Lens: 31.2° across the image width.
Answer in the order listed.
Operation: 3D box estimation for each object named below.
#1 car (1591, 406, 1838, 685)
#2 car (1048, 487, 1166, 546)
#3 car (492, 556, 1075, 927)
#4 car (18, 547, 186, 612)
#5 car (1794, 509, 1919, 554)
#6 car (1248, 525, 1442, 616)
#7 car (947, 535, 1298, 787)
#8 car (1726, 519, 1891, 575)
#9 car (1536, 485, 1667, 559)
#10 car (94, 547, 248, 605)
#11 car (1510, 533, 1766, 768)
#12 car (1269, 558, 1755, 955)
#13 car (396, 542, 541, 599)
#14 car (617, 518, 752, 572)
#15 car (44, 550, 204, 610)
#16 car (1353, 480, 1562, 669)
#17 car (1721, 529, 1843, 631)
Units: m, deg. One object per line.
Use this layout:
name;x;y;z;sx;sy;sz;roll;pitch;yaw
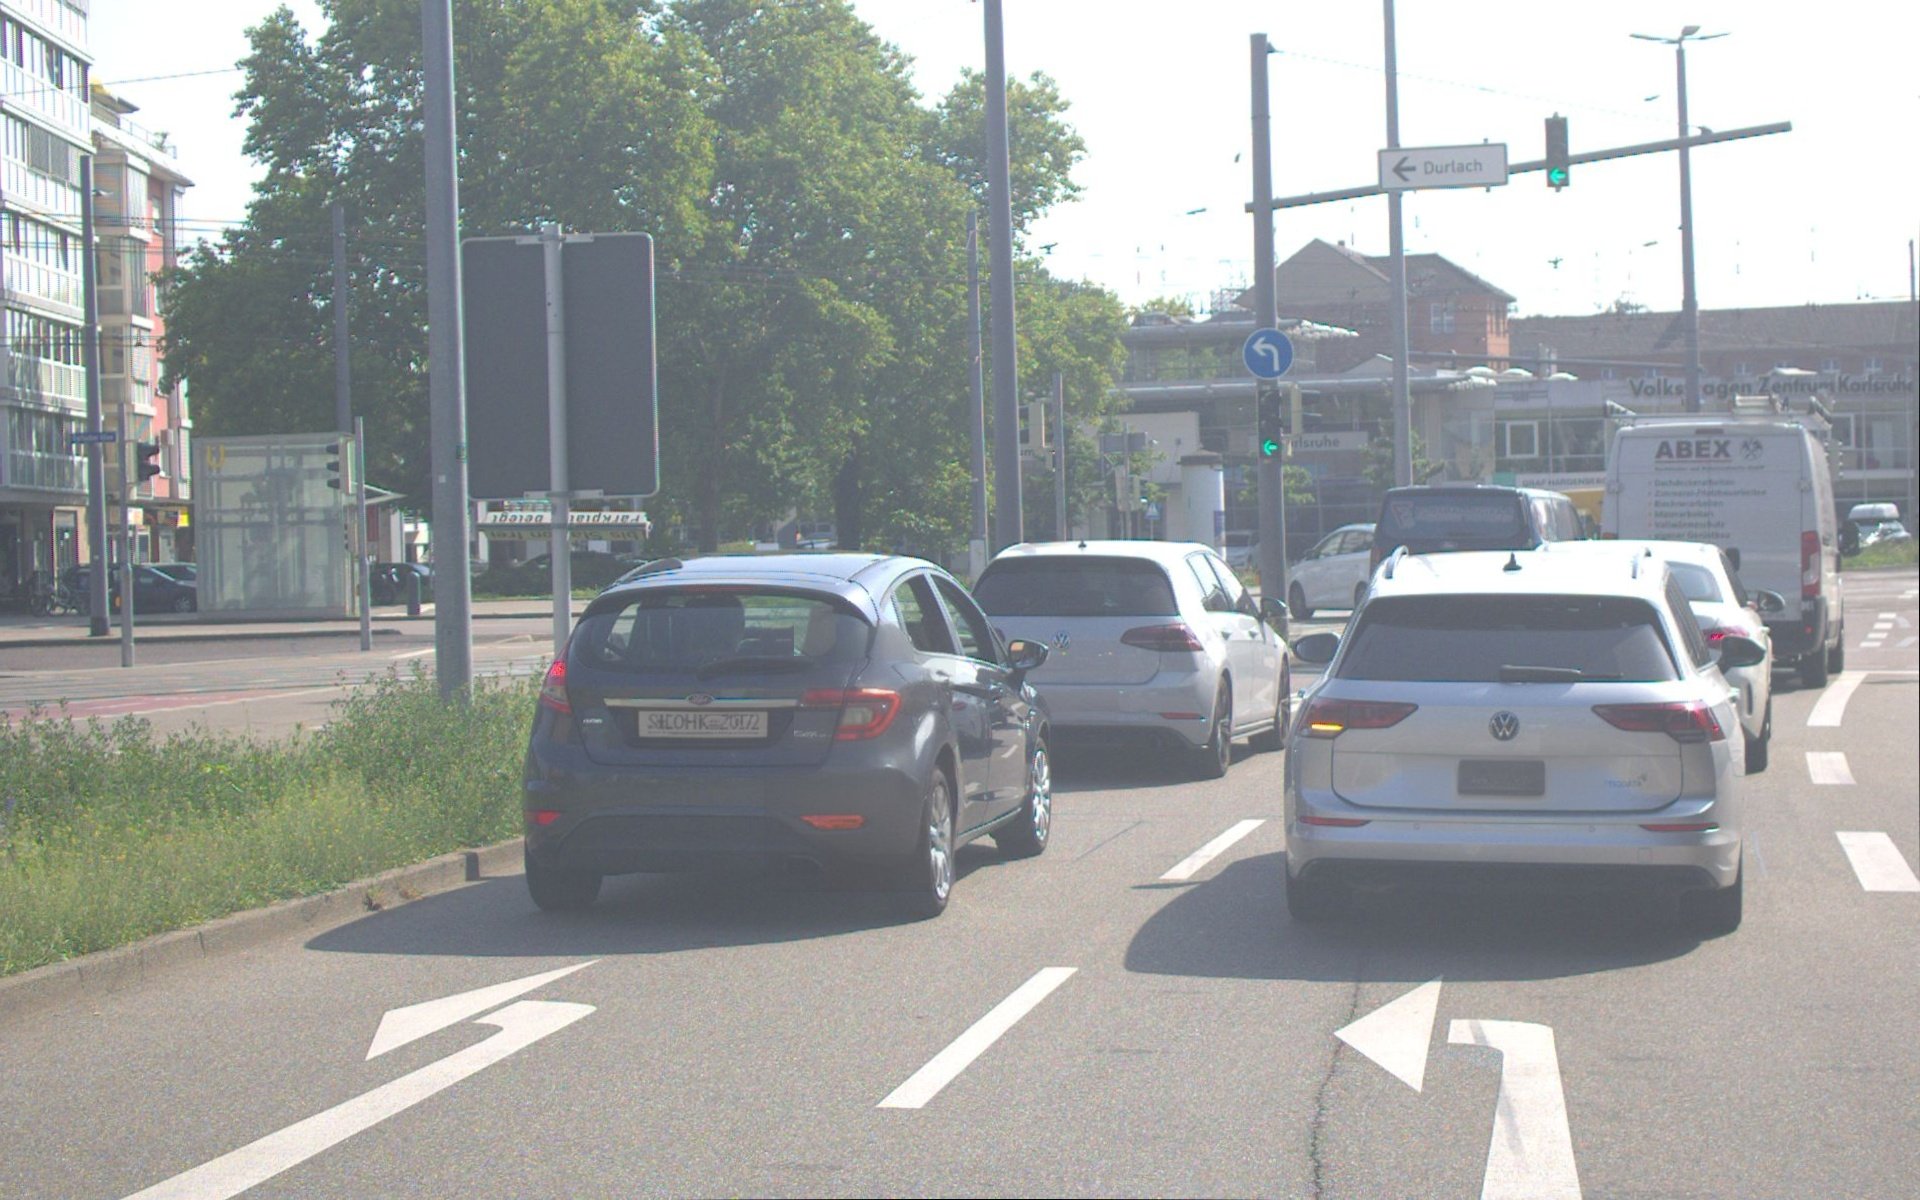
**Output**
car;7.513;-0.516;33.898;2.190;2.540;4.680;0;1;15
car;5.286;-3.007;123.708;3.988;2.006;2.000;0;4;10
car;-0.612;0.511;14.909;1.702;1.363;3.962;-1;1;9
car;-22.987;-0.560;92.231;3.987;1.552;1.869;-1;4;0
car;30.491;-2.321;116.443;3.987;1.437;2.000;-1;1;2
car;6.563;-0.503;58.972;1.622;1.497;4.090;-1;1;-21
car;1.112;0.324;21.802;1.490;1.410;3.646;-1;2;14
car;22.216;-1.394;90.108;3.966;1.337;1.930;-1;1;7
car;18.109;-2.213;96.909;1.997;2.007;4.656;-1;1;33
car;-22.782;-0.694;99.363;3.986;1.552;1.869;-1;1;-1
car;4.475;0.282;22.515;1.490;1.398;3.940;-1;1;12
car;2.324;0.531;13.921;1.686;1.383;3.632;-1;1;12
car;-14.277;-0.872;99.994;3.986;1.552;1.728;-1;1;-1
car;-8.416;-1.689;105.304;3.986;1.552;1.728;-1;1;-1
car;-23.123;-0.570;95.194;3.941;1.552;1.794;-1;1;0
car;5.736;-0.315;39.176;2.024;2.001;4.681;-1;1;12
car;11.928;-0.313;49.885;1.638;1.398;3.685;-1;1;14
